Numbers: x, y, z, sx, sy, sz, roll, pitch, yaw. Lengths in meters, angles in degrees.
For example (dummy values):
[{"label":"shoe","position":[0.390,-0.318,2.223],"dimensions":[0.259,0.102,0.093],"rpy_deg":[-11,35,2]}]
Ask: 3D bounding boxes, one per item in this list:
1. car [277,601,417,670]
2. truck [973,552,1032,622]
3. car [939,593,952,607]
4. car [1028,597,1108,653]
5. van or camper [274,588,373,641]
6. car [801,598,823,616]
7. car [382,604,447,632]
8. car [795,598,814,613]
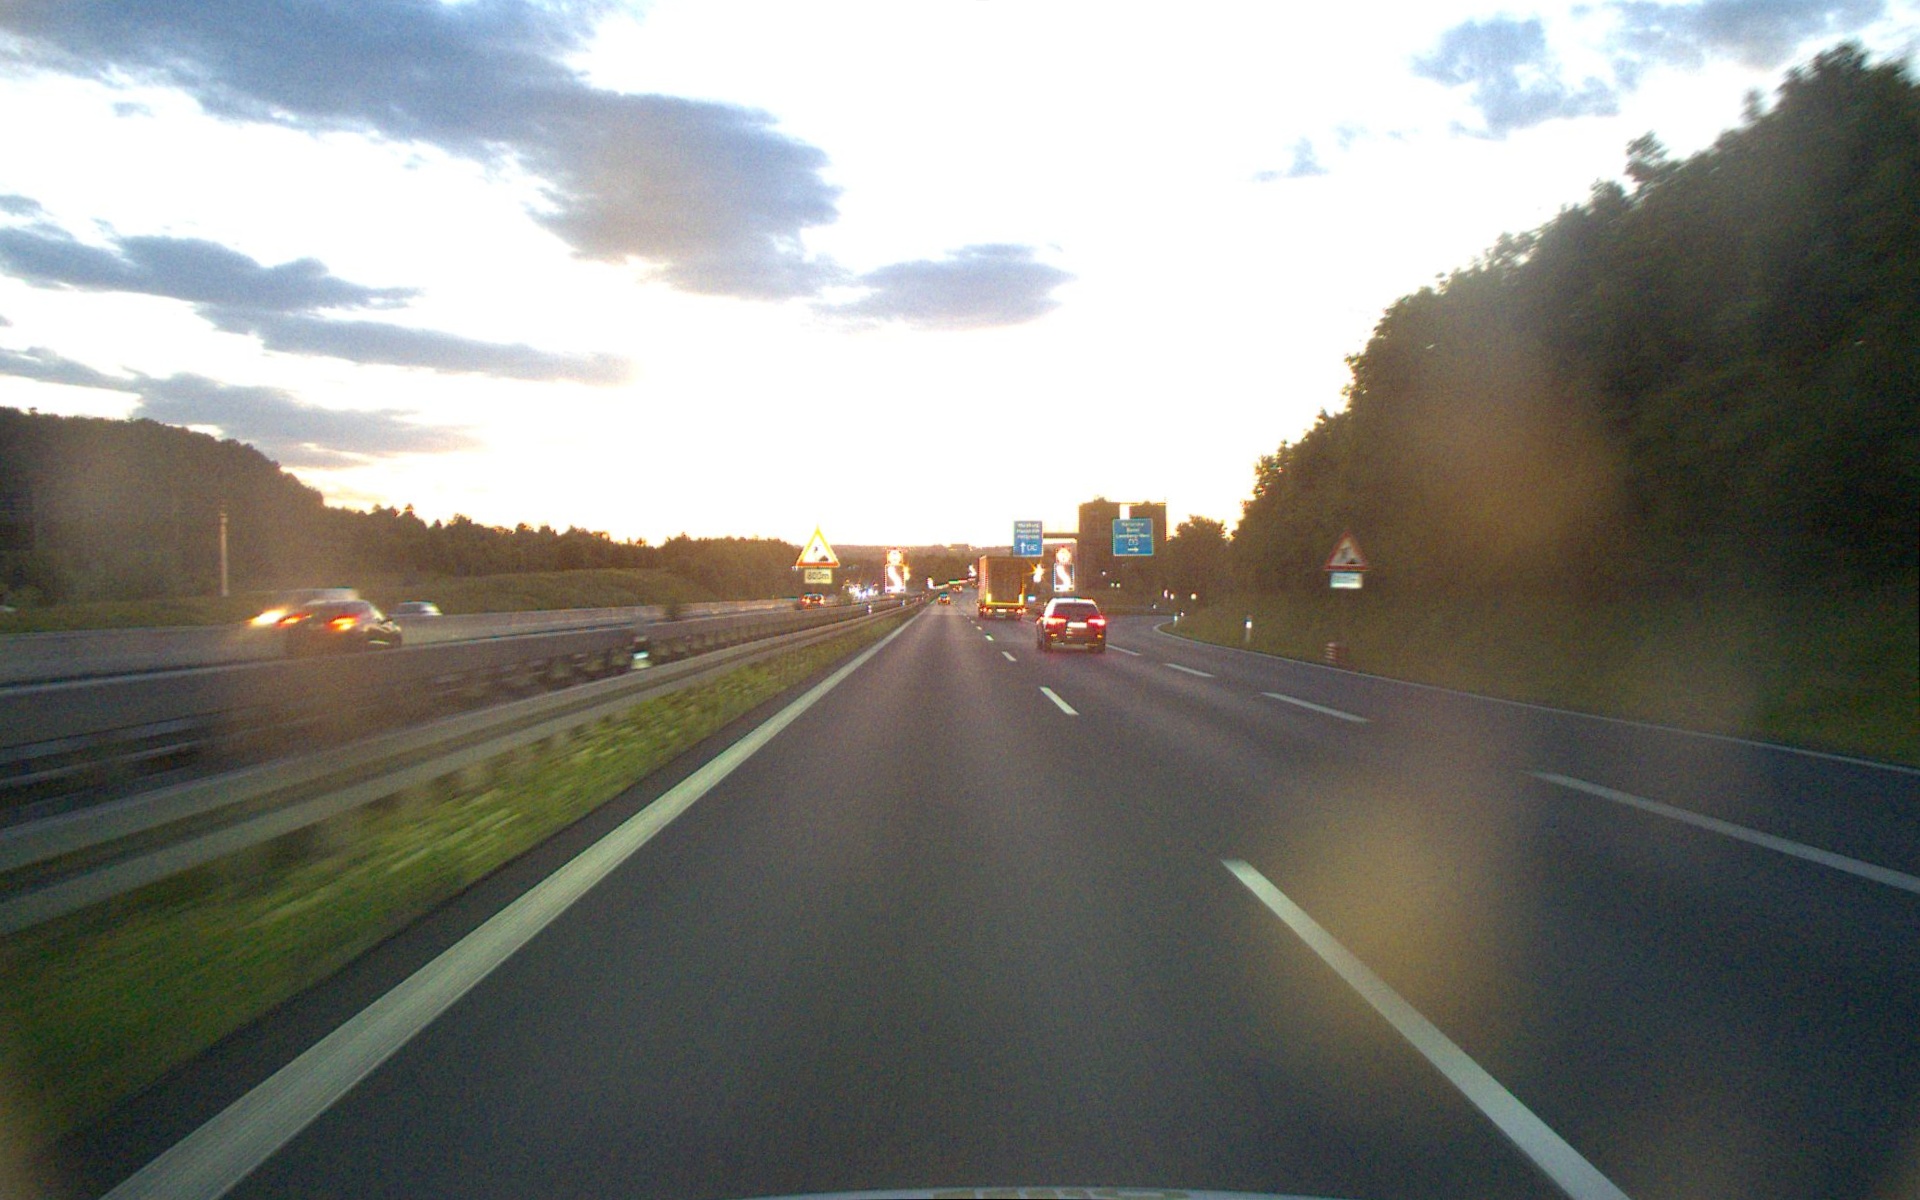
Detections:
[{"label":"car","position":[-15.200,0.841,41.260],"dimensions":[1.834,1.588,4.519],"rpy_deg":[-1,0,-1]},{"label":"truck","position":[2.753,-0.812,110.686],"dimensions":[3.438,4.376,9.889],"rpy_deg":[-1,0,-1]},{"label":"car","position":[-2.168,0.029,253.675],"dimensions":[1.953,2.049,3.999],"rpy_deg":[-1,0,-1]},{"label":"car","position":[3.039,0.686,47.162],"dimensions":[1.876,1.467,3.998],"rpy_deg":[-1,0,-2]},{"label":"van or camper","position":[-24.435,0.514,63.704],"dimensions":[1.852,1.940,5.538],"rpy_deg":[0,0,-2]},{"label":"car","position":[-13.600,0.617,151.911],"dimensions":[1.678,1.634,3.721],"rpy_deg":[-1,0,-1]},{"label":"car","position":[-25.862,0.833,78.563],"dimensions":[1.716,1.272,4.212],"rpy_deg":[-1,0,-1]},{"label":"car","position":[-16.432,0.559,174.904],"dimensions":[1.604,1.573,3.394],"rpy_deg":[-1,0,0]}]
